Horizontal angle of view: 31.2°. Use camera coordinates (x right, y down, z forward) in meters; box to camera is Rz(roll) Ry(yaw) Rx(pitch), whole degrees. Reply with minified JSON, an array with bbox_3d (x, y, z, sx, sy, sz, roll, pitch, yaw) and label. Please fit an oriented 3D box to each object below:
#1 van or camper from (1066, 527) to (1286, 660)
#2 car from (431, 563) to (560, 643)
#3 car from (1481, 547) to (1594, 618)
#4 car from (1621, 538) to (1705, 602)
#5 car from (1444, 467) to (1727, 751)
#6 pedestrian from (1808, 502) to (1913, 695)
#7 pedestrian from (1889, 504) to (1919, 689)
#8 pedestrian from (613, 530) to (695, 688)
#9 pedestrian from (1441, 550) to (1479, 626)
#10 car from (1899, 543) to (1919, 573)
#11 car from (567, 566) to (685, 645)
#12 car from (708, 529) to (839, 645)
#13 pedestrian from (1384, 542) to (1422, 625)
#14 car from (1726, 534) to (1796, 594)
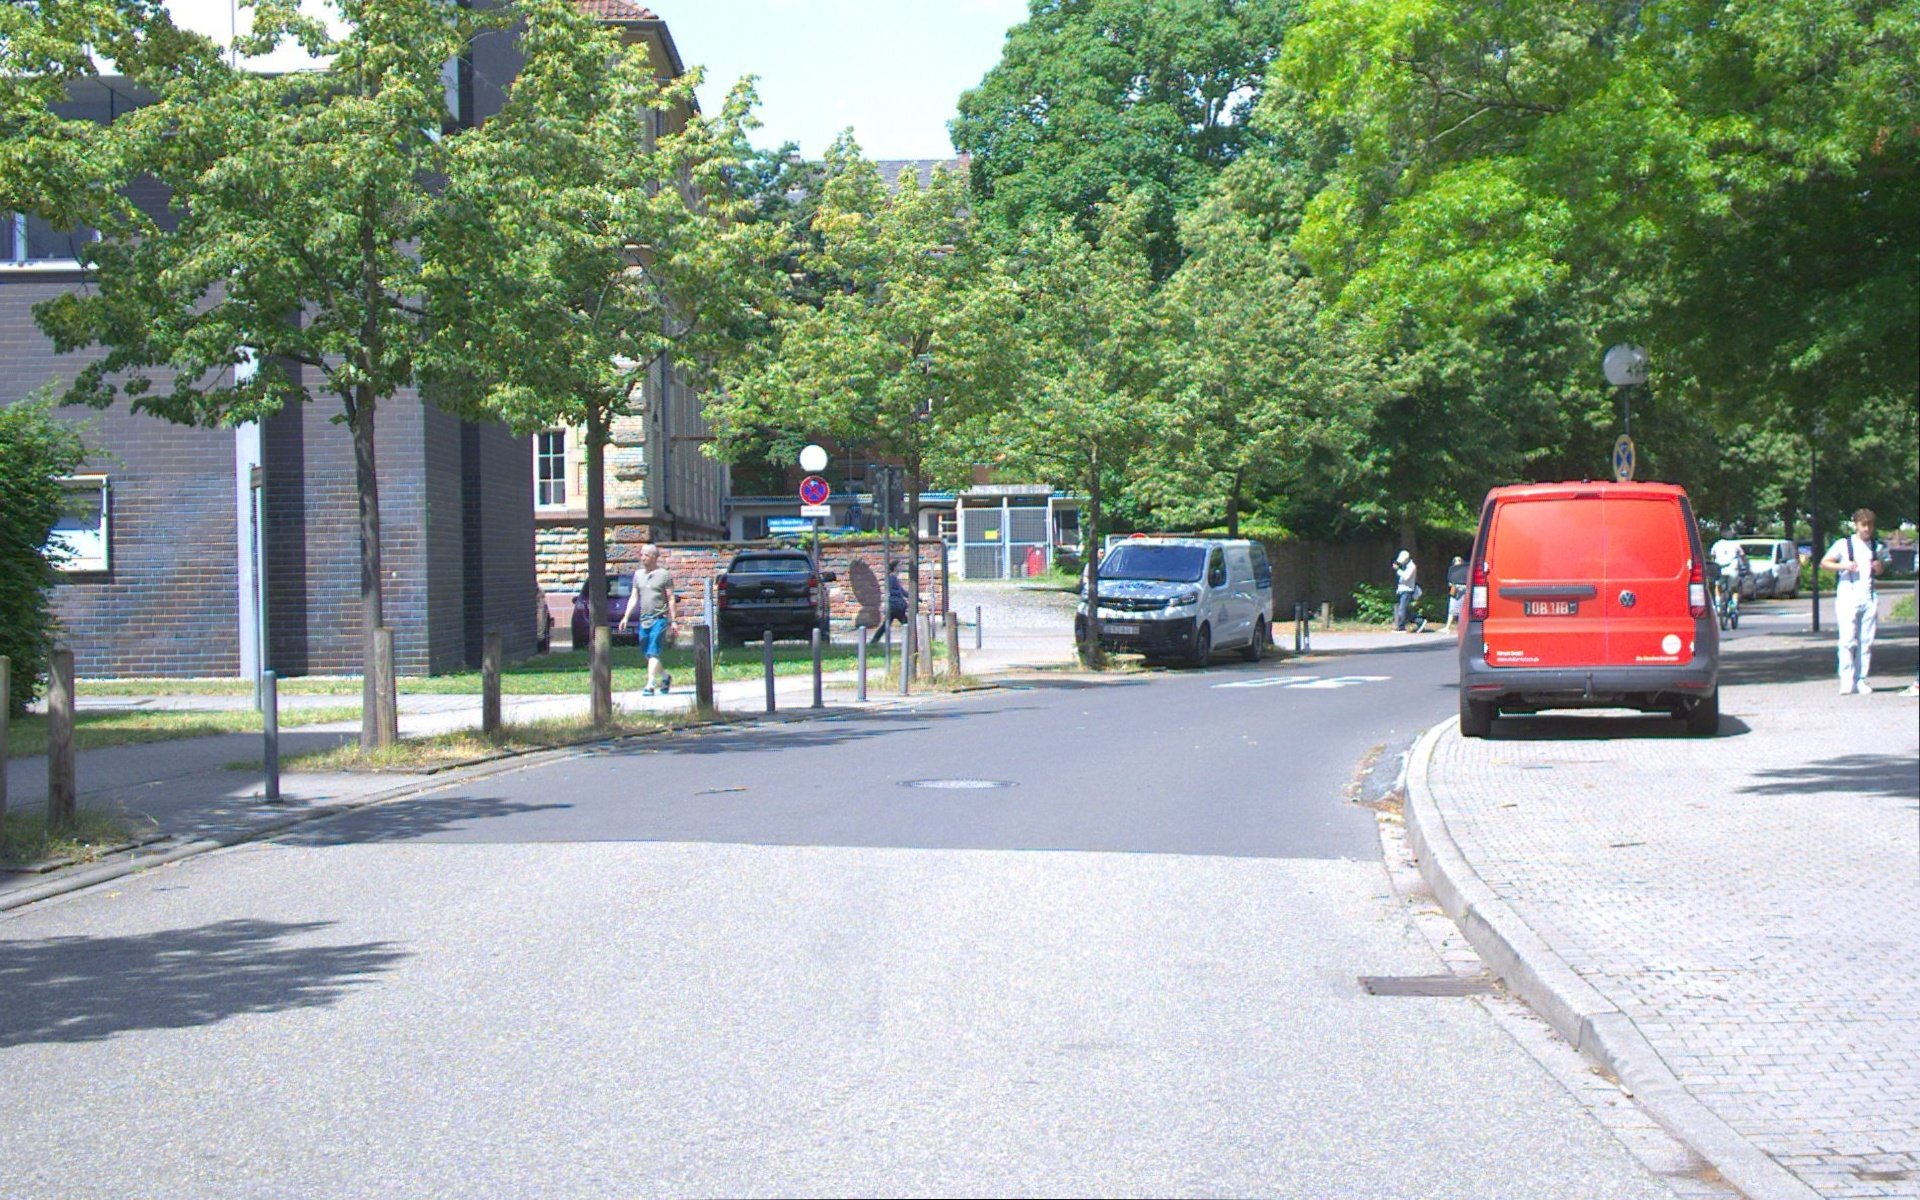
[{"bbox_3d":[3.368,-0.144,52.393,1.955,1.916,5.415,0,1,19],"label":"van or camper"},{"bbox_3d":[-8.121,0.031,60.441,1.817,1.319,4.163,1,1,-2],"label":"car"},{"bbox_3d":[13.008,-0.406,77.252,1.761,1.516,4.107,-1,1,20],"label":"car"},{"bbox_3d":[18.925,-0.814,92.445,1.617,1.673,3.996,-1,1,20],"label":"car"},{"bbox_3d":[4.627,0.026,25.759,1.849,1.885,4.889,-1,1,9],"label":"car"},{"bbox_3d":[8.610,-0.015,32.863,0.721,1.815,0.630,-1,0,-36],"label":"pedestrian"},{"bbox_3d":[9.127,-0.038,31.988,0.743,1.704,0.564,-1,0,-36],"label":"pedestrian"},{"bbox_3d":[-3.447,0.091,38.747,0.584,1.758,0.910,-1,1,17],"label":"pedestrian"},{"bbox_3d":[10.017,-0.241,68.858,0.493,1.522,0.584,-1,1,40],"label":"pedestrian"},{"bbox_3d":[45.025,-1.980,161.148,1.617,1.360,4.558,-1,1,19],"label":"car"},{"bbox_3d":[-5.849,0.075,60.553,1.817,1.319,3.768,-1,1,-2],"label":"car"},{"bbox_3d":[-3.272,-0.249,60.603,2.174,1.919,5.187,-1,1,-3],"label":"car"},{"bbox_3d":[8.949,-0.331,69.394,0.626,1.657,0.603,-1,0,-5],"label":"pedestrian"},{"bbox_3d":[24.853,-1.129,106.553,1.617,1.809,3.996,-1,1,20],"label":"car"}]
